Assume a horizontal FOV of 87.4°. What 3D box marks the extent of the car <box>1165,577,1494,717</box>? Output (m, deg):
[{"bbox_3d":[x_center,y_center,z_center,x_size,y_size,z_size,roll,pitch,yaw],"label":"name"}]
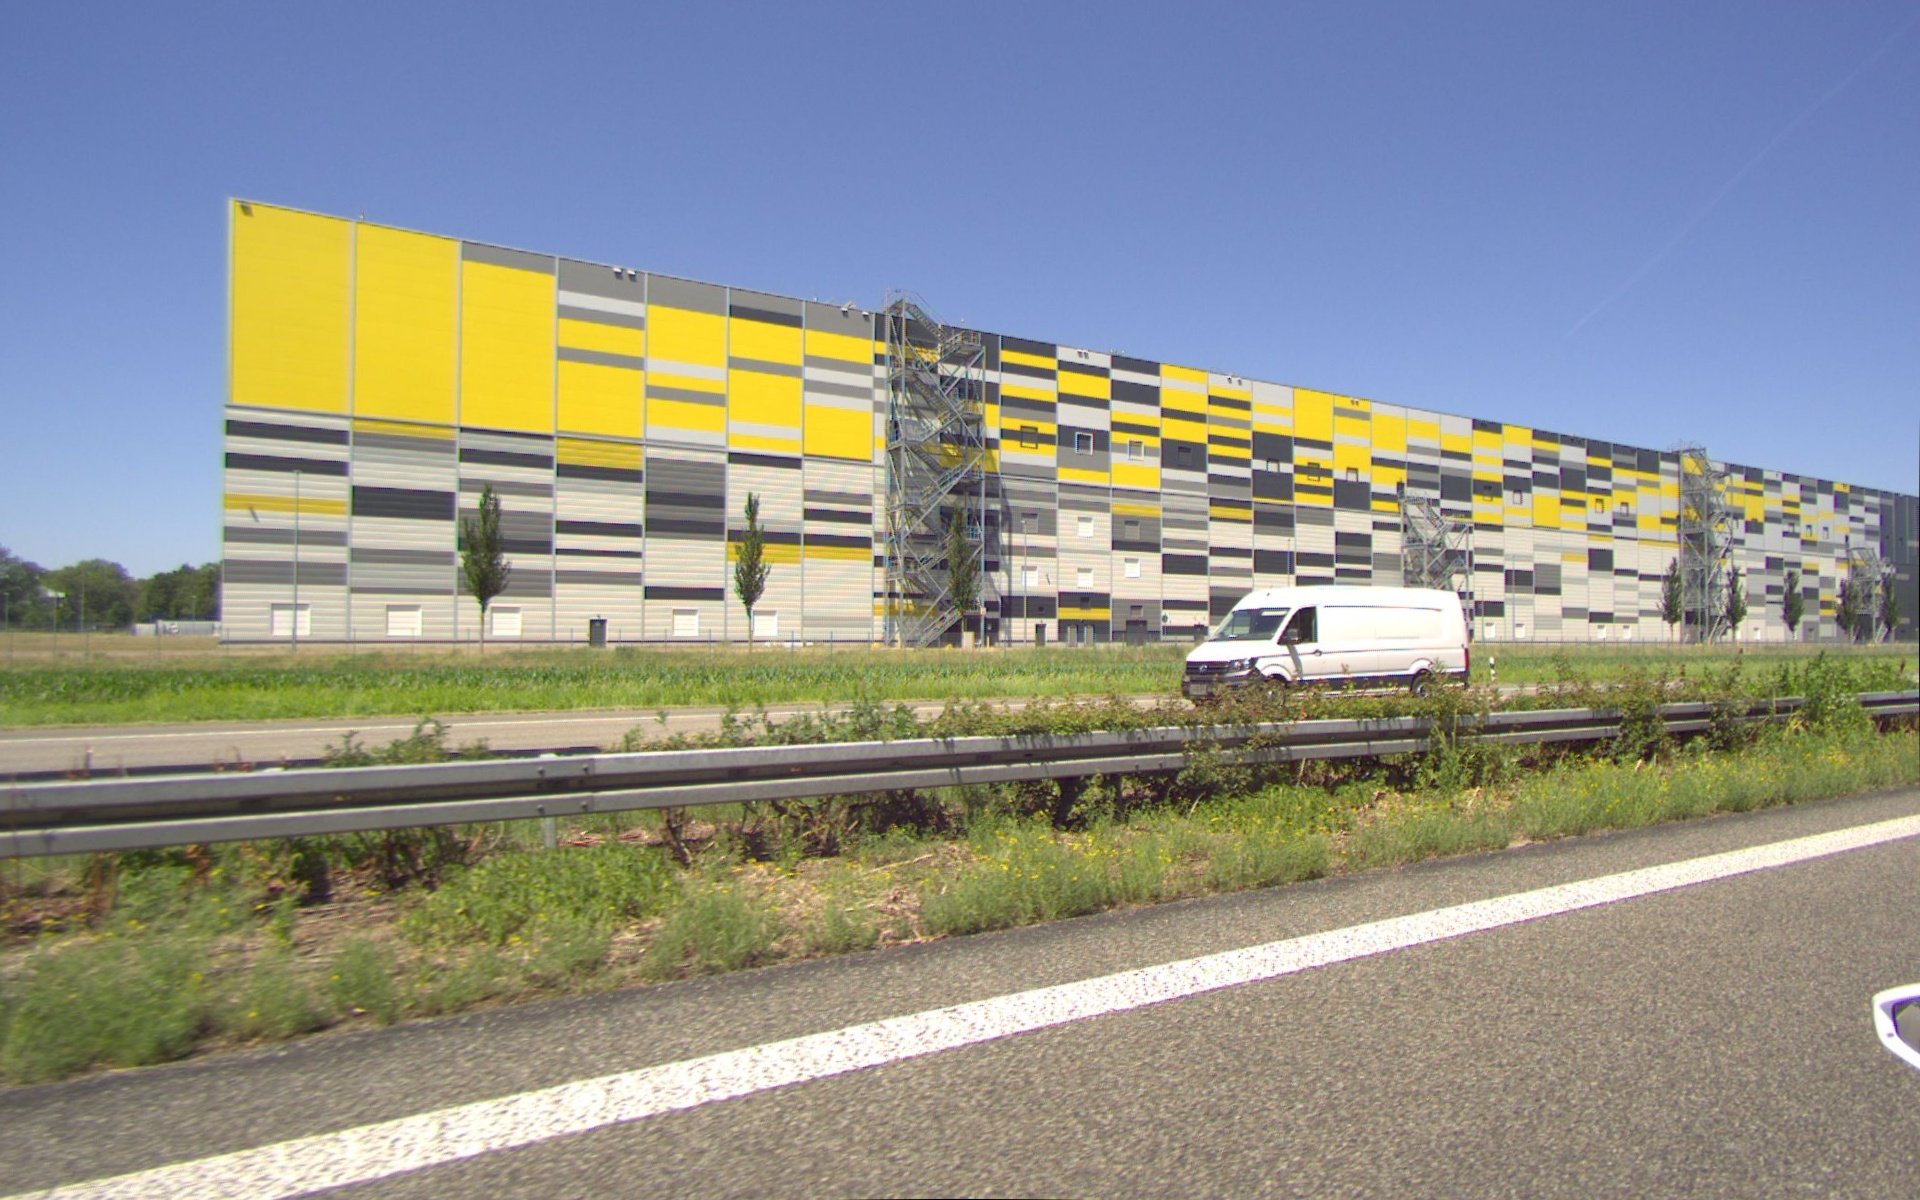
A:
[{"bbox_3d":[8.053,0.982,21.443,7.840,2.587,2.058,1,-2,-30],"label":"car"}]
